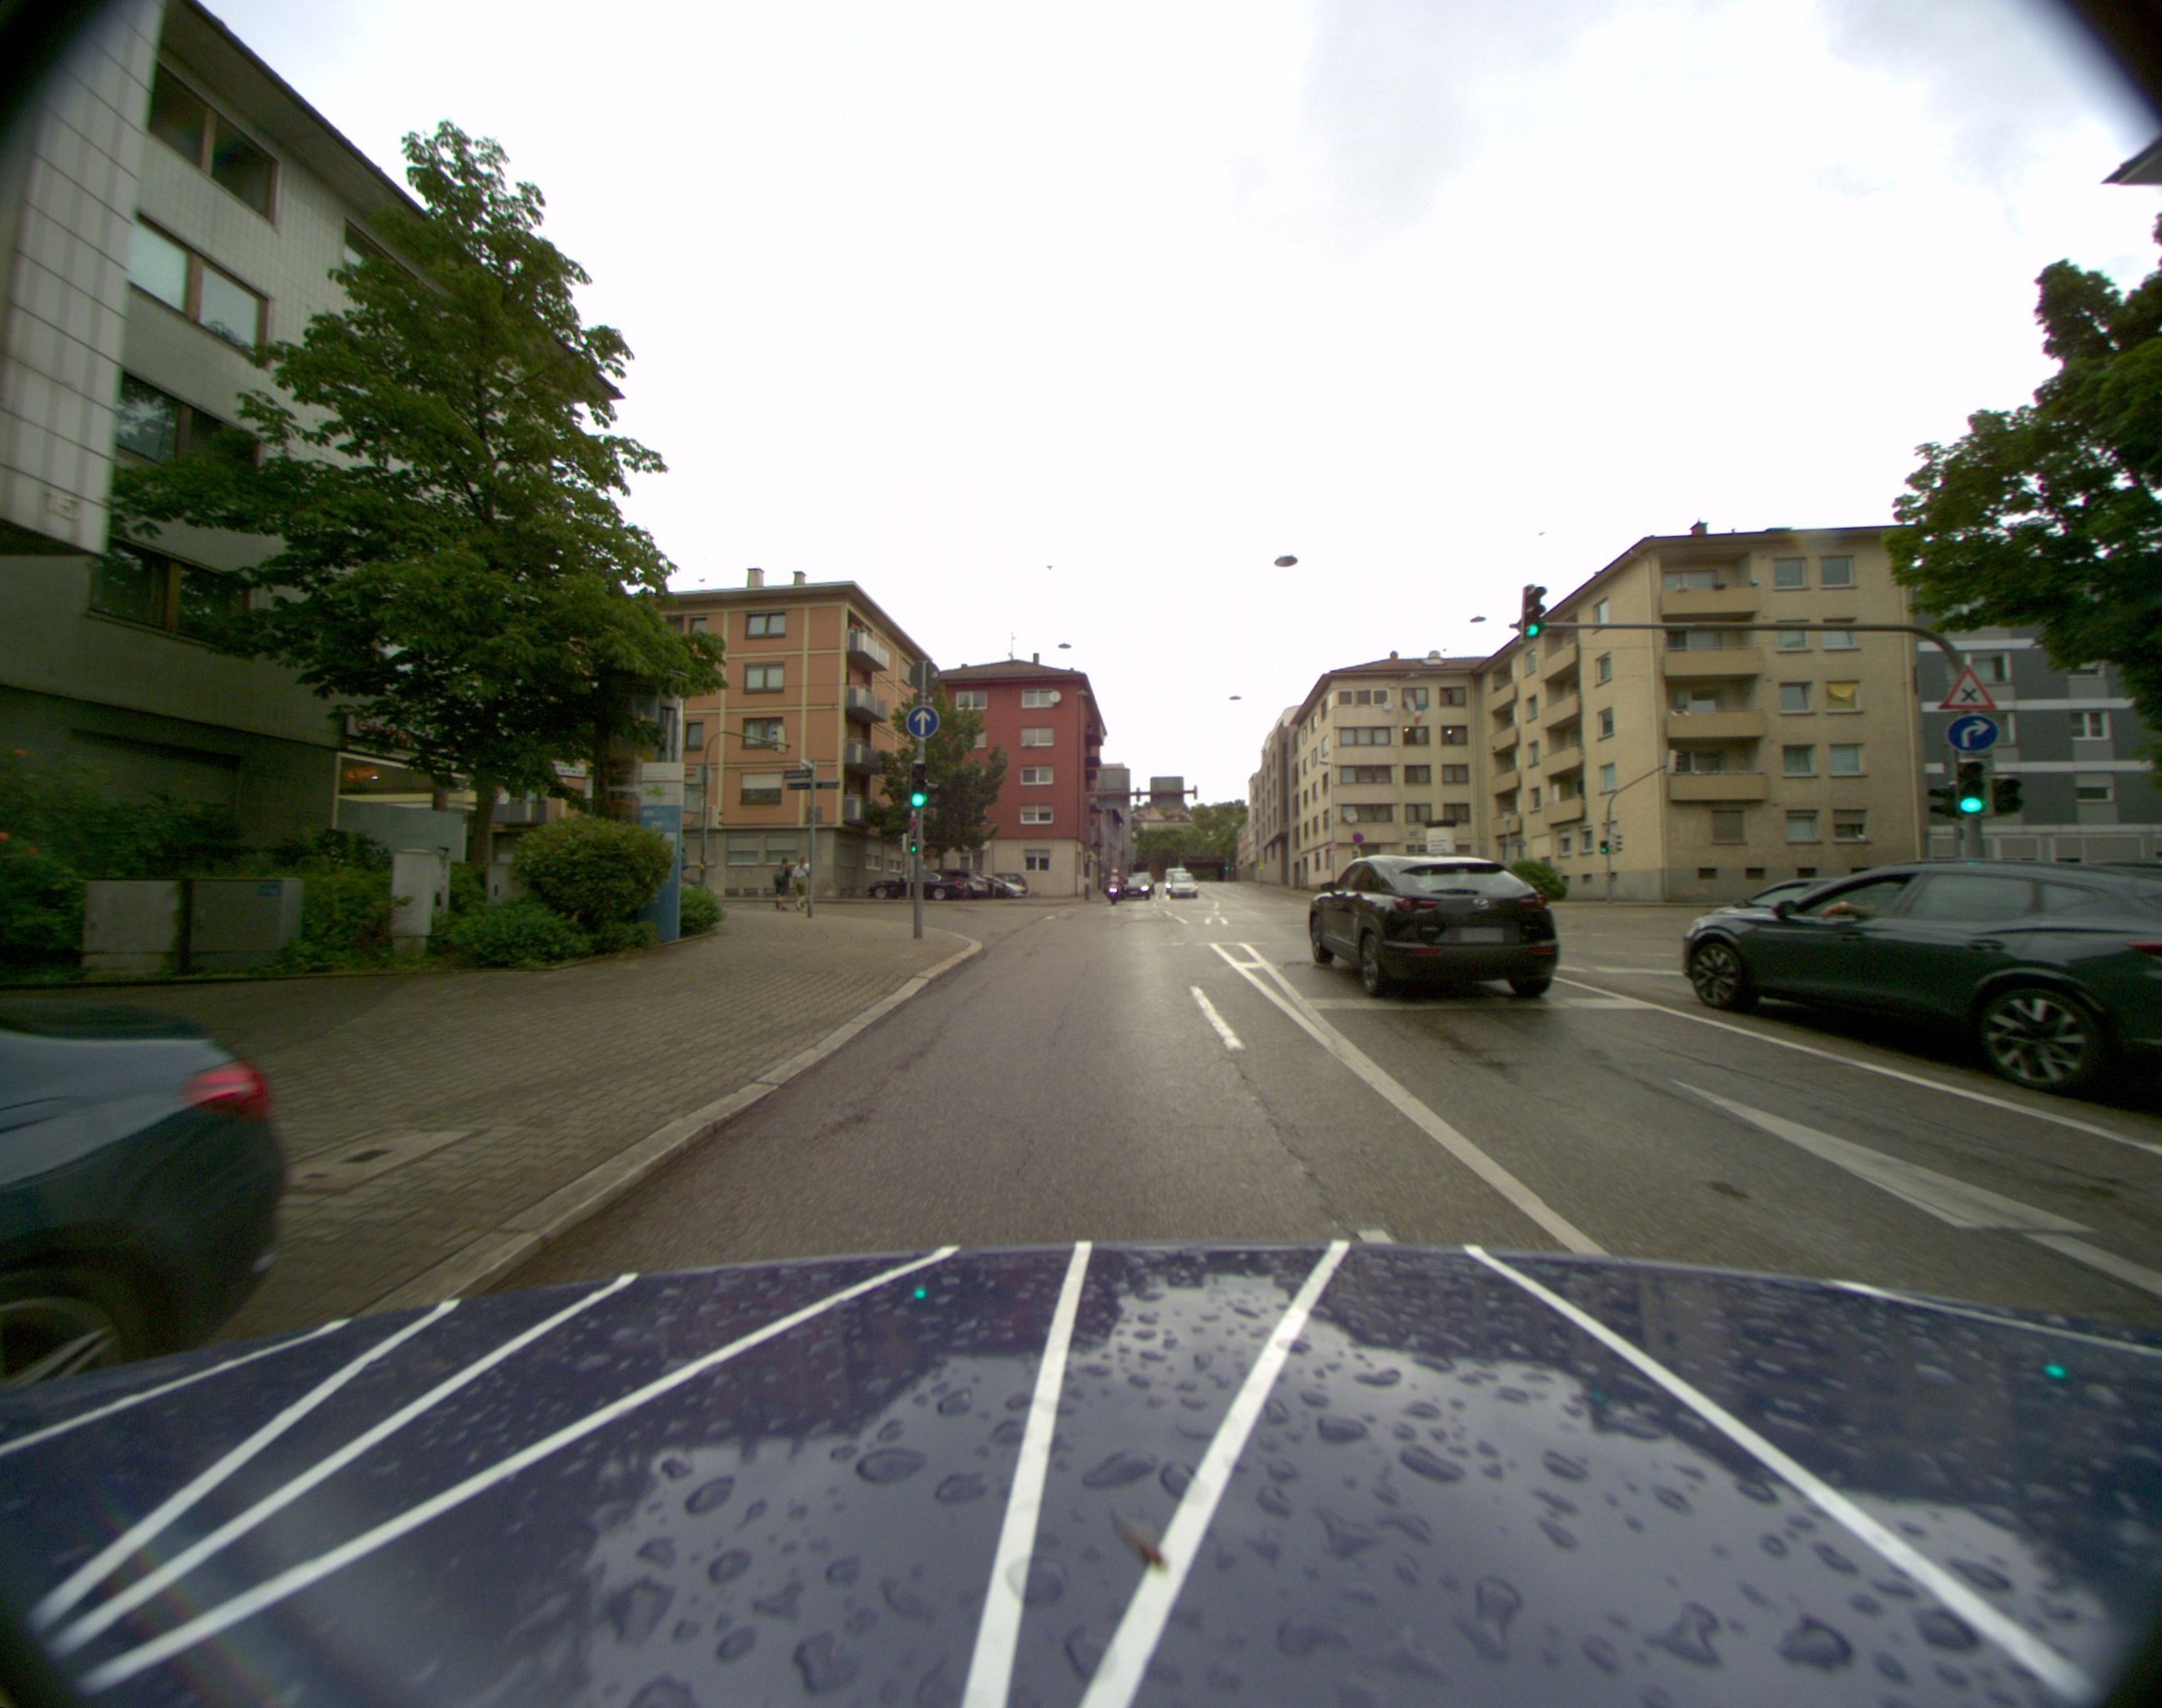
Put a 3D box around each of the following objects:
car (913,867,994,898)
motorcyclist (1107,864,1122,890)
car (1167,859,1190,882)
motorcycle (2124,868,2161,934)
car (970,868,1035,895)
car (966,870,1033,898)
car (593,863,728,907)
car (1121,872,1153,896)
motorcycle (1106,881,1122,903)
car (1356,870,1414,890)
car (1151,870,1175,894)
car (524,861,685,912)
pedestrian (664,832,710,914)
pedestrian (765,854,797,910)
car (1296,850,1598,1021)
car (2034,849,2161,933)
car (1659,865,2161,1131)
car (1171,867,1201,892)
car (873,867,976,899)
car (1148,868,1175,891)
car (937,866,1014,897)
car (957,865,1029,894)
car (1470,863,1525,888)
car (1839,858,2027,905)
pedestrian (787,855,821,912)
[{"bbox_3d":[-6.988,1.567,41.779,3.995,1.650,1.995,-1,-2,6],"label":"car"},{"bbox_3d":[1.591,1.073,36.130,0.654,1.216,0.658,-1,0,0],"label":"motorcyclist"},{"bbox_3d":[9.015,1.583,70.086,1.941,1.903,4.861,-2,-3,9],"label":"car"},{"bbox_3d":[17.864,0.725,12.155,1.794,1.026,0.453,-1,-1,-3],"label":"motorcycle"},{"bbox_3d":[-5.394,1.921,52.380,3.992,1.694,2.004,-3,-4,19],"label":"car"},{"bbox_3d":[-5.325,1.986,49.536,3.991,1.571,1.678,-4,-4,25],"label":"car"},{"bbox_3d":[-15.288,1.126,27.713,3.994,1.480,1.851,-1,-1,8],"label":"car"},{"bbox_3d":[3.563,1.879,48.867,1.874,1.433,4.002,-2,-1,3],"label":"car"},{"bbox_3d":[1.584,1.785,36.353,0.637,0.921,2.365,-2,0,0],"label":"motorcycle"},{"bbox_3d":[20.171,1.713,50.466,3.259,1.185,1.384,-2,-3,6],"label":"car"},{"bbox_3d":[6.548,2.308,60.915,1.793,1.716,4.005,-2,-4,6],"label":"car"},{"bbox_3d":[-14.826,1.016,23.774,3.994,1.503,1.851,-1,-1,8],"label":"car"},{"bbox_3d":[-9.023,0.435,17.383,0.756,1.806,0.915,3,-2,-35],"label":"pedestrian"},{"bbox_3d":[-9.057,0.859,22.951,0.711,1.636,0.757,4,-5,-29],"label":"pedestrian"},{"bbox_3d":[4.034,0.759,9.300,1.823,1.528,4.379,-1,1,4],"label":"car"},{"bbox_3d":[20.270,0.586,13.601,3.996,1.352,1.738,-2,0,4],"label":"car"},{"bbox_3d":[6.985,0.831,5.911,1.823,1.468,4.381,-1,-1,4],"label":"car"},{"bbox_3d":[6.953,1.687,50.424,1.838,1.545,4.003,-1,-2,7],"label":"car"},{"bbox_3d":[-7.992,1.470,38.927,4.788,1.545,1.852,0,-2,9],"label":"car"},{"bbox_3d":[5.936,1.866,55.994,1.838,1.545,4.003,-1,-2,7],"label":"car"},{"bbox_3d":[-6.194,1.598,44.641,3.992,1.709,1.996,-2,-2,18],"label":"car"},{"bbox_3d":[-5.424,1.631,46.987,3.991,1.687,1.804,-2,-4,20],"label":"car"},{"bbox_3d":[25.958,1.341,47.465,1.764,1.465,3.327,-2,-1,5],"label":"car"},{"bbox_3d":[28.268,0.935,25.328,4.067,1.471,1.735,-1,-3,5],"label":"car"},{"bbox_3d":[-8.276,0.901,22.713,0.760,1.636,0.708,4,-4,-29],"label":"pedestrian"}]
